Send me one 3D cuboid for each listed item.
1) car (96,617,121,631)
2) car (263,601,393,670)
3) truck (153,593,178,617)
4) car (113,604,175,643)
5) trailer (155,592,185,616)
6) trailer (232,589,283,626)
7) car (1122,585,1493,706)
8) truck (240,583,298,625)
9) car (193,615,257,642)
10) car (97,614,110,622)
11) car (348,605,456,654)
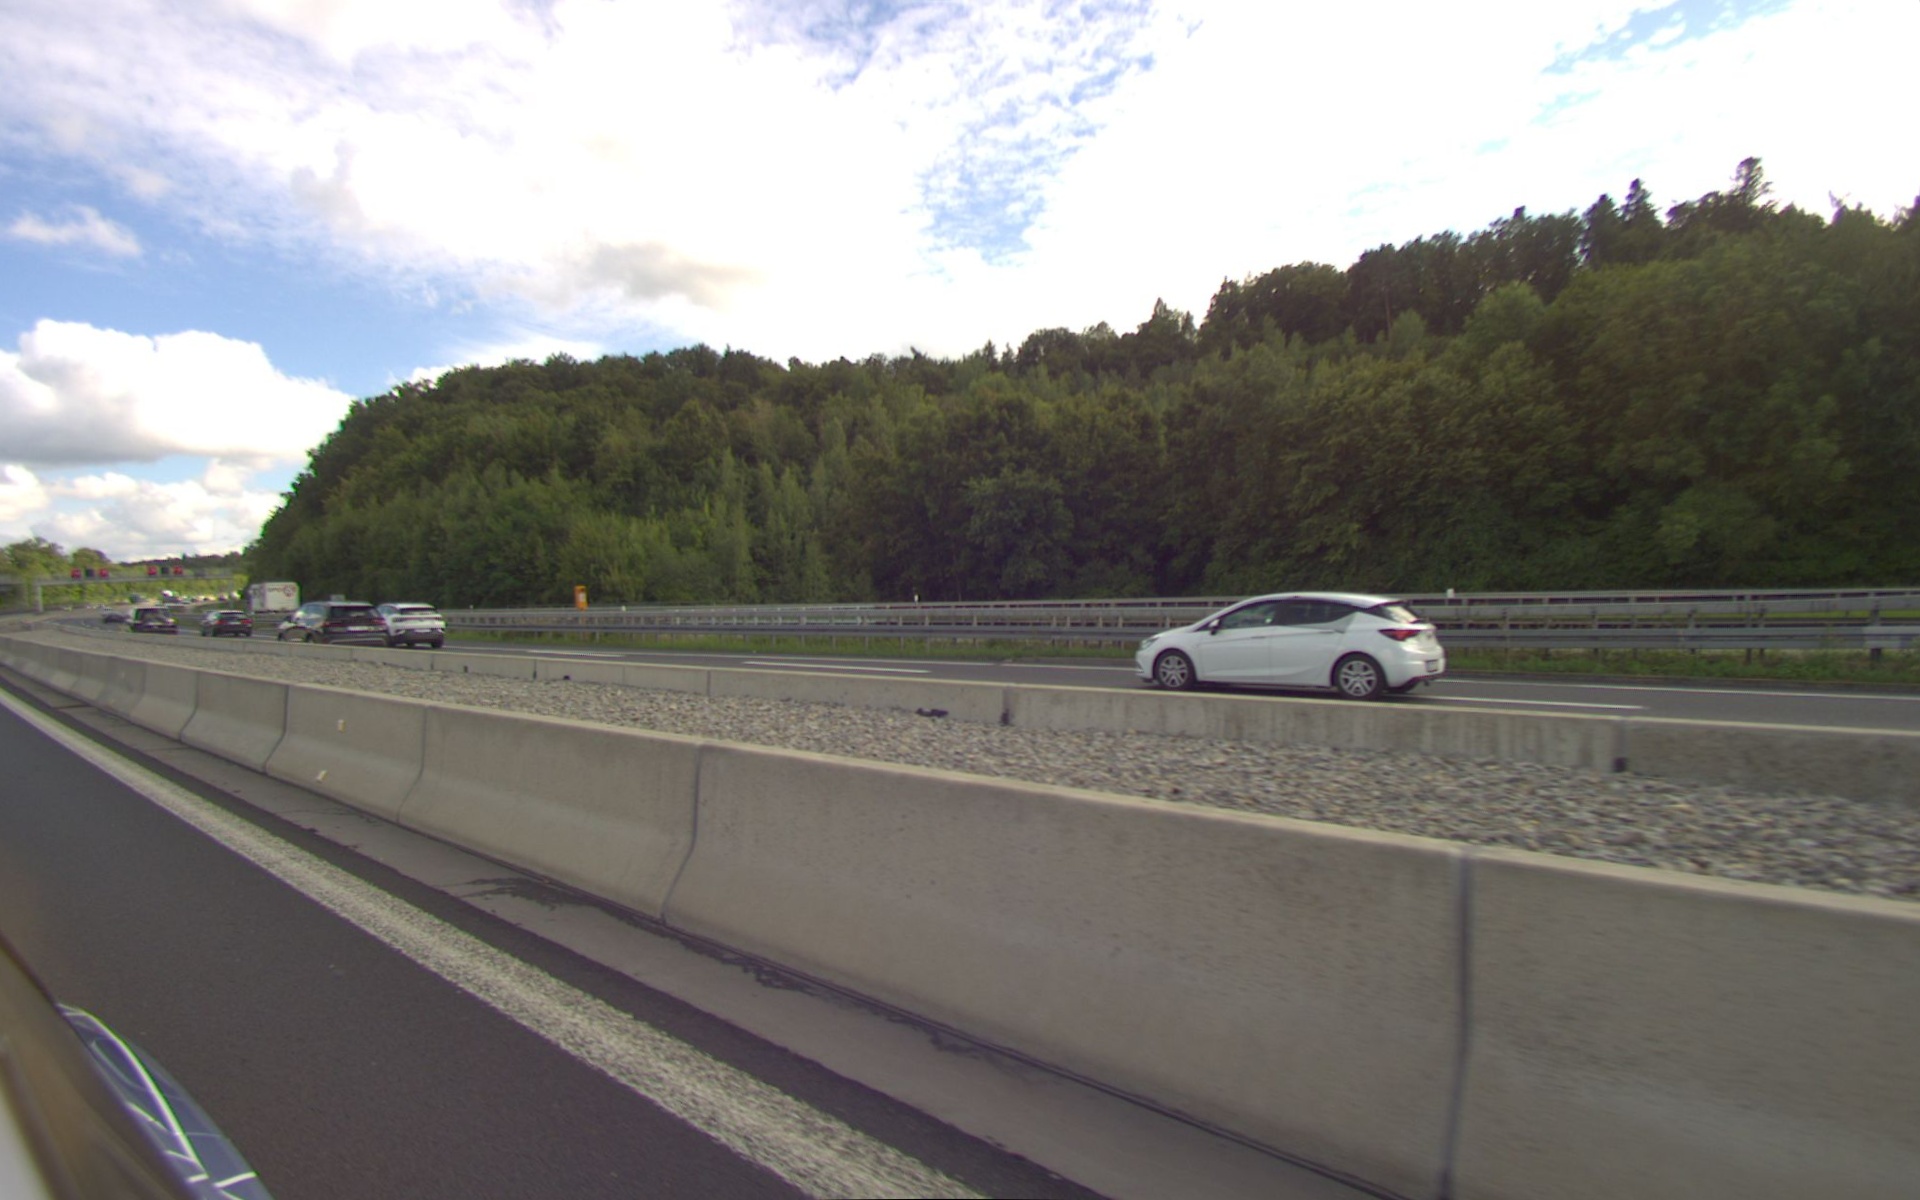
[{"bbox_3d":[-103.229,2.888,122.686,1.853,1.458,5.126,-1,1,-44],"label":"car"},{"bbox_3d":[-18.269,0.972,29.154,4.951,1.798,1.866,-1,0,42],"label":"car"},{"bbox_3d":[-136.548,0.872,173.891,2.776,3.855,7.137,-1,0,-43],"label":"truck"},{"bbox_3d":[-38.935,1.096,48.251,1.864,1.716,4.970,-1,0,-44],"label":"car"},{"bbox_3d":[-132.327,0.777,169.414,2.780,3.835,12.199,-1,0,-43],"label":"trailer"},{"bbox_3d":[-87.822,0.805,126.350,3.283,4.324,12.149,-1,1,-44],"label":"trailer"},{"bbox_3d":[4.736,0.567,14.245,4.577,1.440,1.866,-1,0,42],"label":"car"},{"bbox_3d":[-69.606,0.314,101.782,10.470,3.998,2.869,1,1,45],"label":"truck"},{"bbox_3d":[-41.887,1.623,57.627,4.812,1.413,1.972,-1,0,42],"label":"car"},{"bbox_3d":[-167.559,3.535,197.946,1.692,1.539,4.771,-1,1,-43],"label":"car"},{"bbox_3d":[-20.238,1.050,36.594,4.964,1.622,1.866,-1,0,42],"label":"car"}]
